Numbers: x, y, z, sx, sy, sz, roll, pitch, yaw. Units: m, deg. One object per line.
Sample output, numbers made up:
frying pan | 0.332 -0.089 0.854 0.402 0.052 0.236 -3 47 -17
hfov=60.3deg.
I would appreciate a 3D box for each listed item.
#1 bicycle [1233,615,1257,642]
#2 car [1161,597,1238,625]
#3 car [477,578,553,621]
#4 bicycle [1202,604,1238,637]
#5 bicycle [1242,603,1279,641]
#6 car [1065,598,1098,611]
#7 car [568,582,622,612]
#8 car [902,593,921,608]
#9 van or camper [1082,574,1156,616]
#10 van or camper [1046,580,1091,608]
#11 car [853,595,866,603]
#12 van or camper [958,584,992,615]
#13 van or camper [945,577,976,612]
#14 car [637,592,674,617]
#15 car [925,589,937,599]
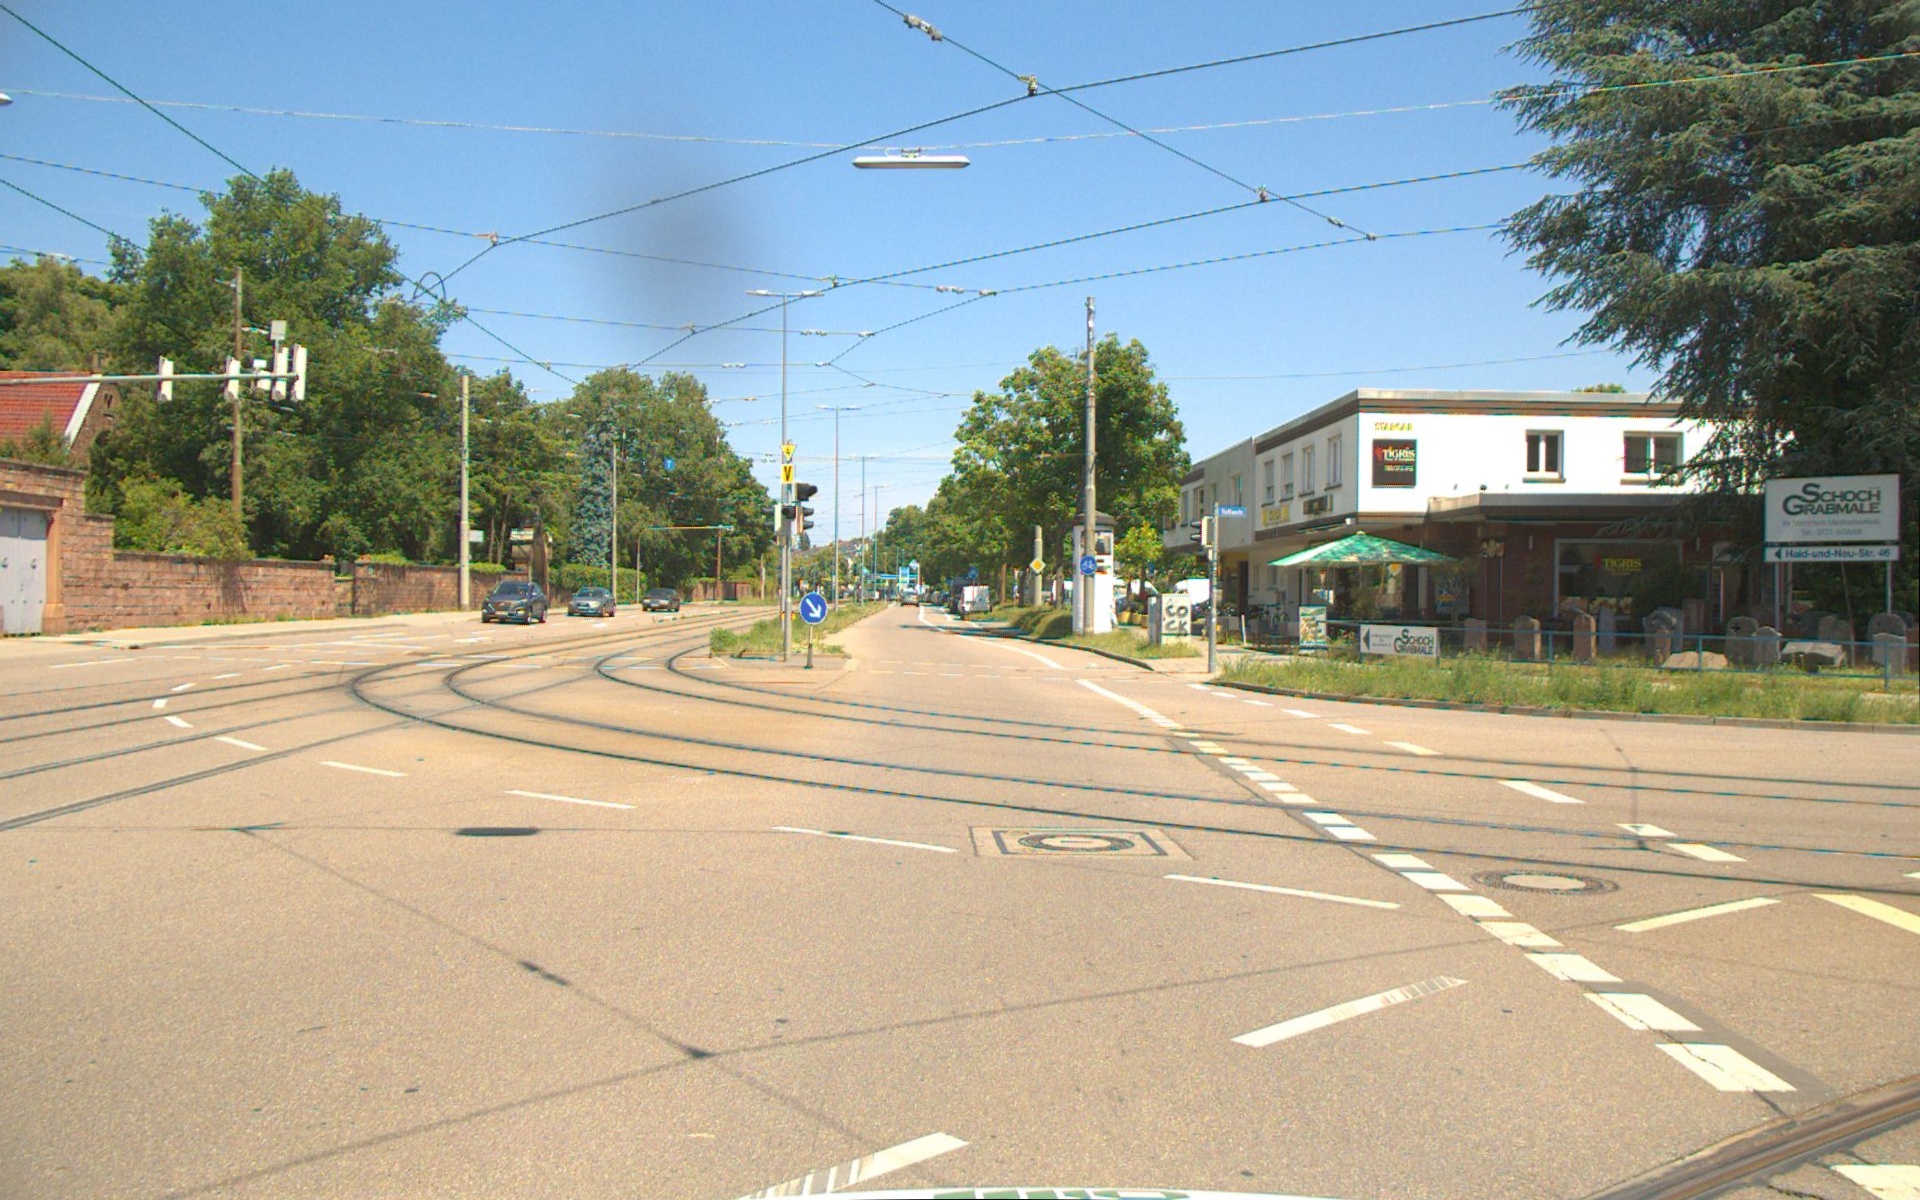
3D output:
bicycle | 11.632 1.156 67.505 0.497 1.084 1.862 3 -1 -5
car | 12.091 0.556 83.541 3.539 1.374 1.488 1 0 -8
car | -17.695 -0.046 65.937 1.783 1.631 4.520 1 1 0
bicycle | 8.467 0.664 53.997 1.012 1.032 2.639 1 0 6
bicycle | 9.724 0.714 53.593 0.968 1.184 2.639 1 0 6
car | 9.812 0.356 133.377 2.535 0.979 1.149 1 0 -1
car | -17.954 -0.151 81.506 1.607 1.445 4.168 1 0 1
car | -4.610 0.076 156.676 1.604 1.375 3.839 1 0 -4
van or camper | 10.788 -0.337 112.464 4.662 2.717 2.134 1 0 -3
van or camper | 8.932 -0.499 136.628 3.487 2.183 1.601 1 0 -3
car | -12.857 -0.122 211.496 1.462 1.064 3.578 1 0 -2
van or camper | 0.877 -0.044 99.087 1.883 1.803 3.999 1 0 -1
van or camper | 0.015 -0.405 121.250 1.954 2.507 3.997 1 0 -4
car | -18.740 0.270 101.782 1.608 1.424 4.114 3 0 -2
car | -4.061 -0.874 234.027 1.493 1.319 3.490 1 0 -4
